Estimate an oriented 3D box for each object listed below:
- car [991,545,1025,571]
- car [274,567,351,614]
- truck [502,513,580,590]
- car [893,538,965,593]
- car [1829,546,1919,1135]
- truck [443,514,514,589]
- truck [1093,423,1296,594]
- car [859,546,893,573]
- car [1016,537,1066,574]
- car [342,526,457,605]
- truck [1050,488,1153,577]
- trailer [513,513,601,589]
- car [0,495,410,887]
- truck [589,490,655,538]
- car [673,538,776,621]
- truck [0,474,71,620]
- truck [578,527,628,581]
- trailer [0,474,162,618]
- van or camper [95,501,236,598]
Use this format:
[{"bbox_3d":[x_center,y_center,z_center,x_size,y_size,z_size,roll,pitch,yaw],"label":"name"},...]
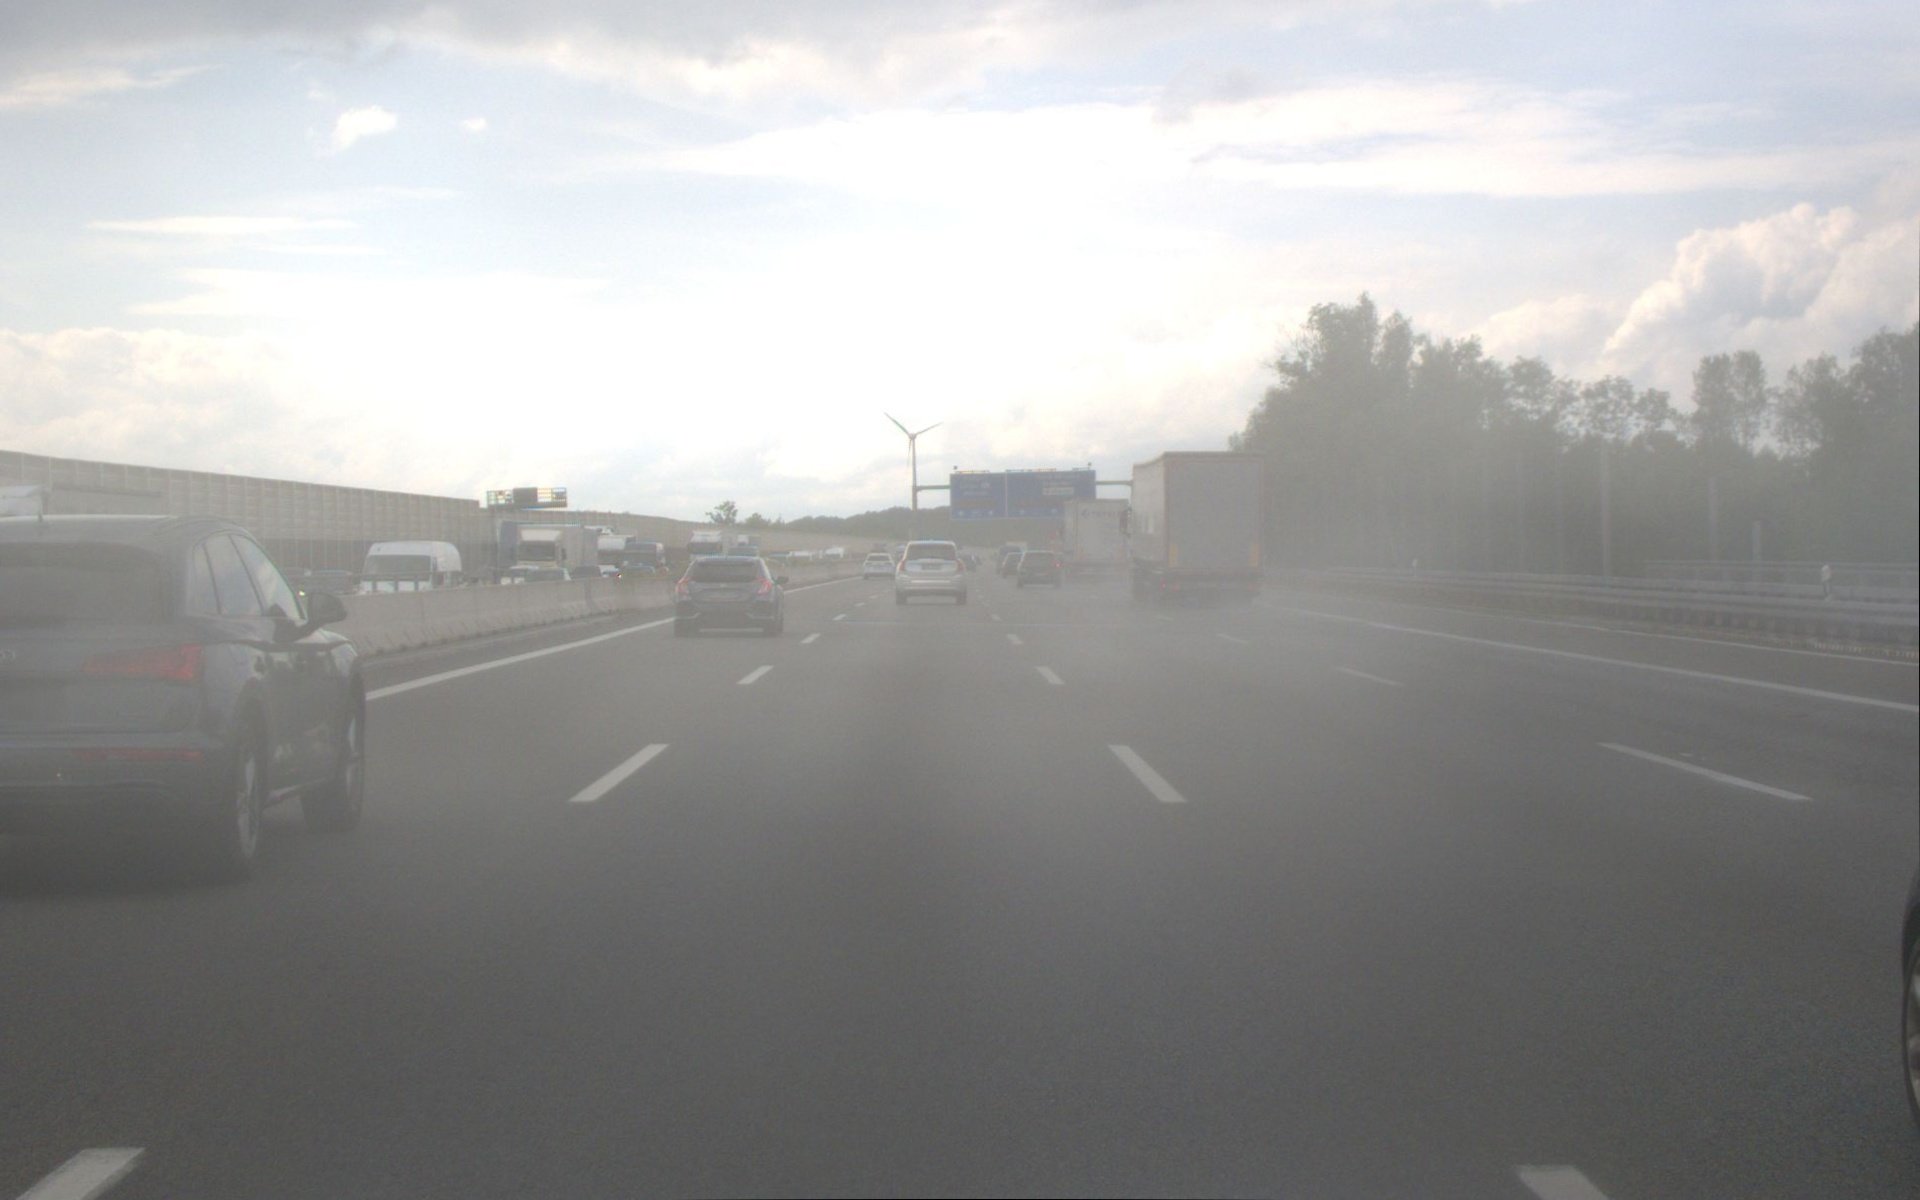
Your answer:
[{"bbox_3d":[2.780,-2.474,199.814,1.835,1.436,4.056,0,2,-2],"label":"car"},{"bbox_3d":[-23.166,-0.363,123.109,1.923,1.593,4.253,-1,1,0],"label":"car"},{"bbox_3d":[-22.031,-2.581,181.109,3.079,3.921,8.054,1,1,0],"label":"truck"},{"bbox_3d":[-0.881,-0.966,94.897,1.772,1.436,4.056,0,2,-3],"label":"car"},{"bbox_3d":[3.095,0.612,7.665,1.447,1.436,3.164,0,1,-1],"label":"car"},{"bbox_3d":[-26.888,-2.730,192.228,2.710,4.060,8.915,1,1,0],"label":"truck"},{"bbox_3d":[6.217,-2.483,93.761,4.179,4.273,12.614,1,1,-2],"label":"truck"},{"bbox_3d":[-4.625,-2.232,189.525,1.772,1.436,3.874,0,2,-3],"label":"car"},{"bbox_3d":[3.288,-1.823,140.433,1.835,1.436,4.056,0,2,-2],"label":"car"},{"bbox_3d":[-15.235,-0.971,93.724,2.159,2.064,6.015,-1,1,0],"label":"car"},{"bbox_3d":[6.888,-3.363,169.612,4.243,4.162,11.991,1,1,-2],"label":"truck"},{"bbox_3d":[-22.042,-2.762,188.825,3.079,3.921,14.983,1,1,0],"label":"trailer"},{"bbox_3d":[-4.116,0.357,17.398,1.908,1.685,5.169,0,1,-1],"label":"car"},{"bbox_3d":[-24.558,-6.232,250.825,3.266,3.340,16.086,1,1,0],"label":"truck"},{"bbox_3d":[-4.199,-0.398,61.626,1.760,1.364,5.061,0,2,-3],"label":"car"},{"bbox_3d":[-26.425,-1.494,94.566,2.576,3.921,5.177,1,1,0],"label":"truck"},{"bbox_3d":[-22.935,-2.986,221.016,2.321,3.336,8.354,1,1,0],"label":"truck"},{"bbox_3d":[-26.446,-1.655,101.484,2.563,3.921,13.817,1,1,0],"label":"trailer"},{"bbox_3d":[-22.540,-1.464,97.825,2.344,2.632,7.150,-1,1,0],"label":"van or camper"}]
